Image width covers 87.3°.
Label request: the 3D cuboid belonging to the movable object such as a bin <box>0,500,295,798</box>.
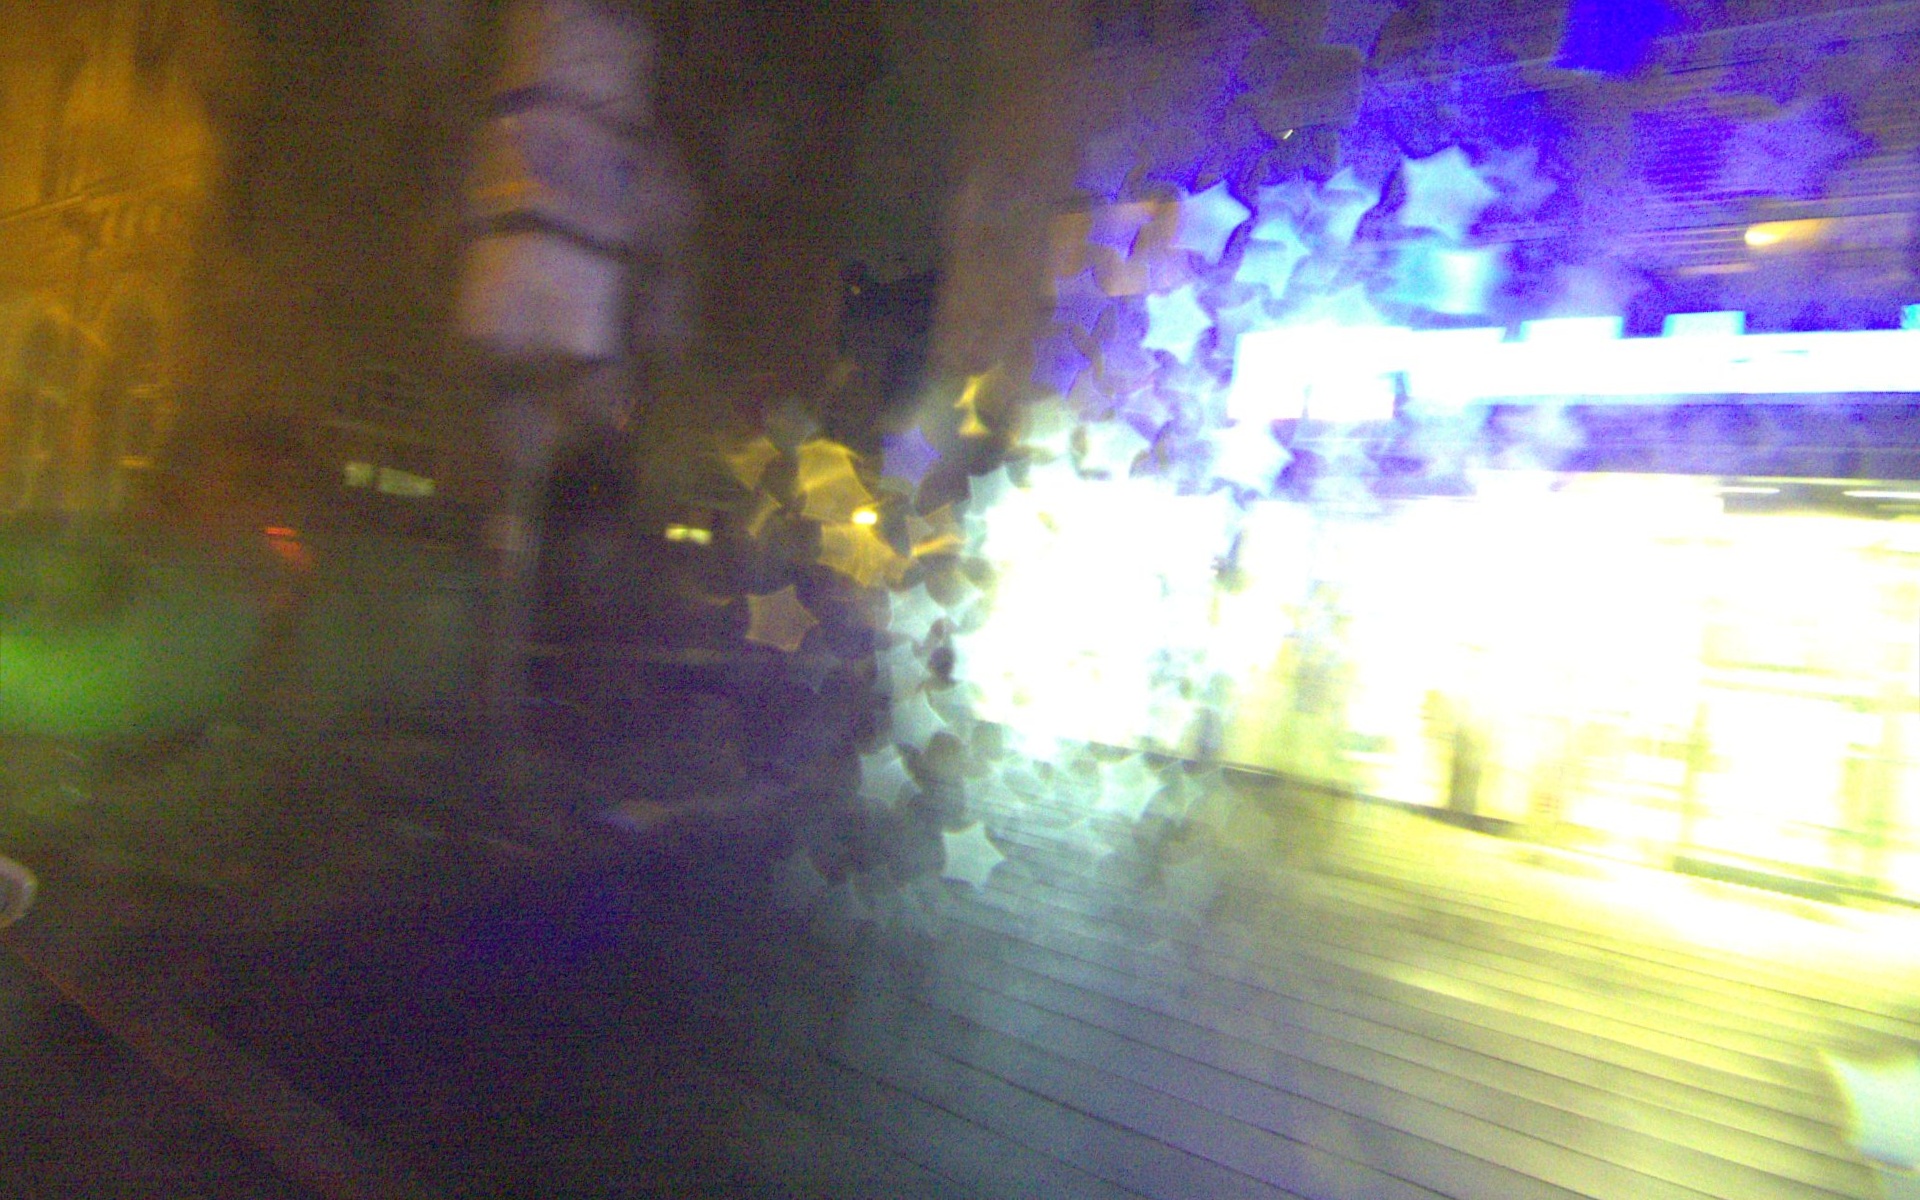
[{"bbox_3d":[-4.925,0.233,5.801,1.180,1.446,1.341,7,-1,-4],"label":"movable object such as a bin"}]

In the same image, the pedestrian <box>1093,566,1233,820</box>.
[{"bbox_3d":[1.572,0.695,7.771,0.614,1.811,0.702,9,3,35],"label":"pedestrian"}]

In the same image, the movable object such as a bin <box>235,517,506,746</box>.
[{"bbox_3d":[-4.257,0.243,7.299,1.035,1.446,1.308,7,-1,41],"label":"movable object such as a bin"}]
